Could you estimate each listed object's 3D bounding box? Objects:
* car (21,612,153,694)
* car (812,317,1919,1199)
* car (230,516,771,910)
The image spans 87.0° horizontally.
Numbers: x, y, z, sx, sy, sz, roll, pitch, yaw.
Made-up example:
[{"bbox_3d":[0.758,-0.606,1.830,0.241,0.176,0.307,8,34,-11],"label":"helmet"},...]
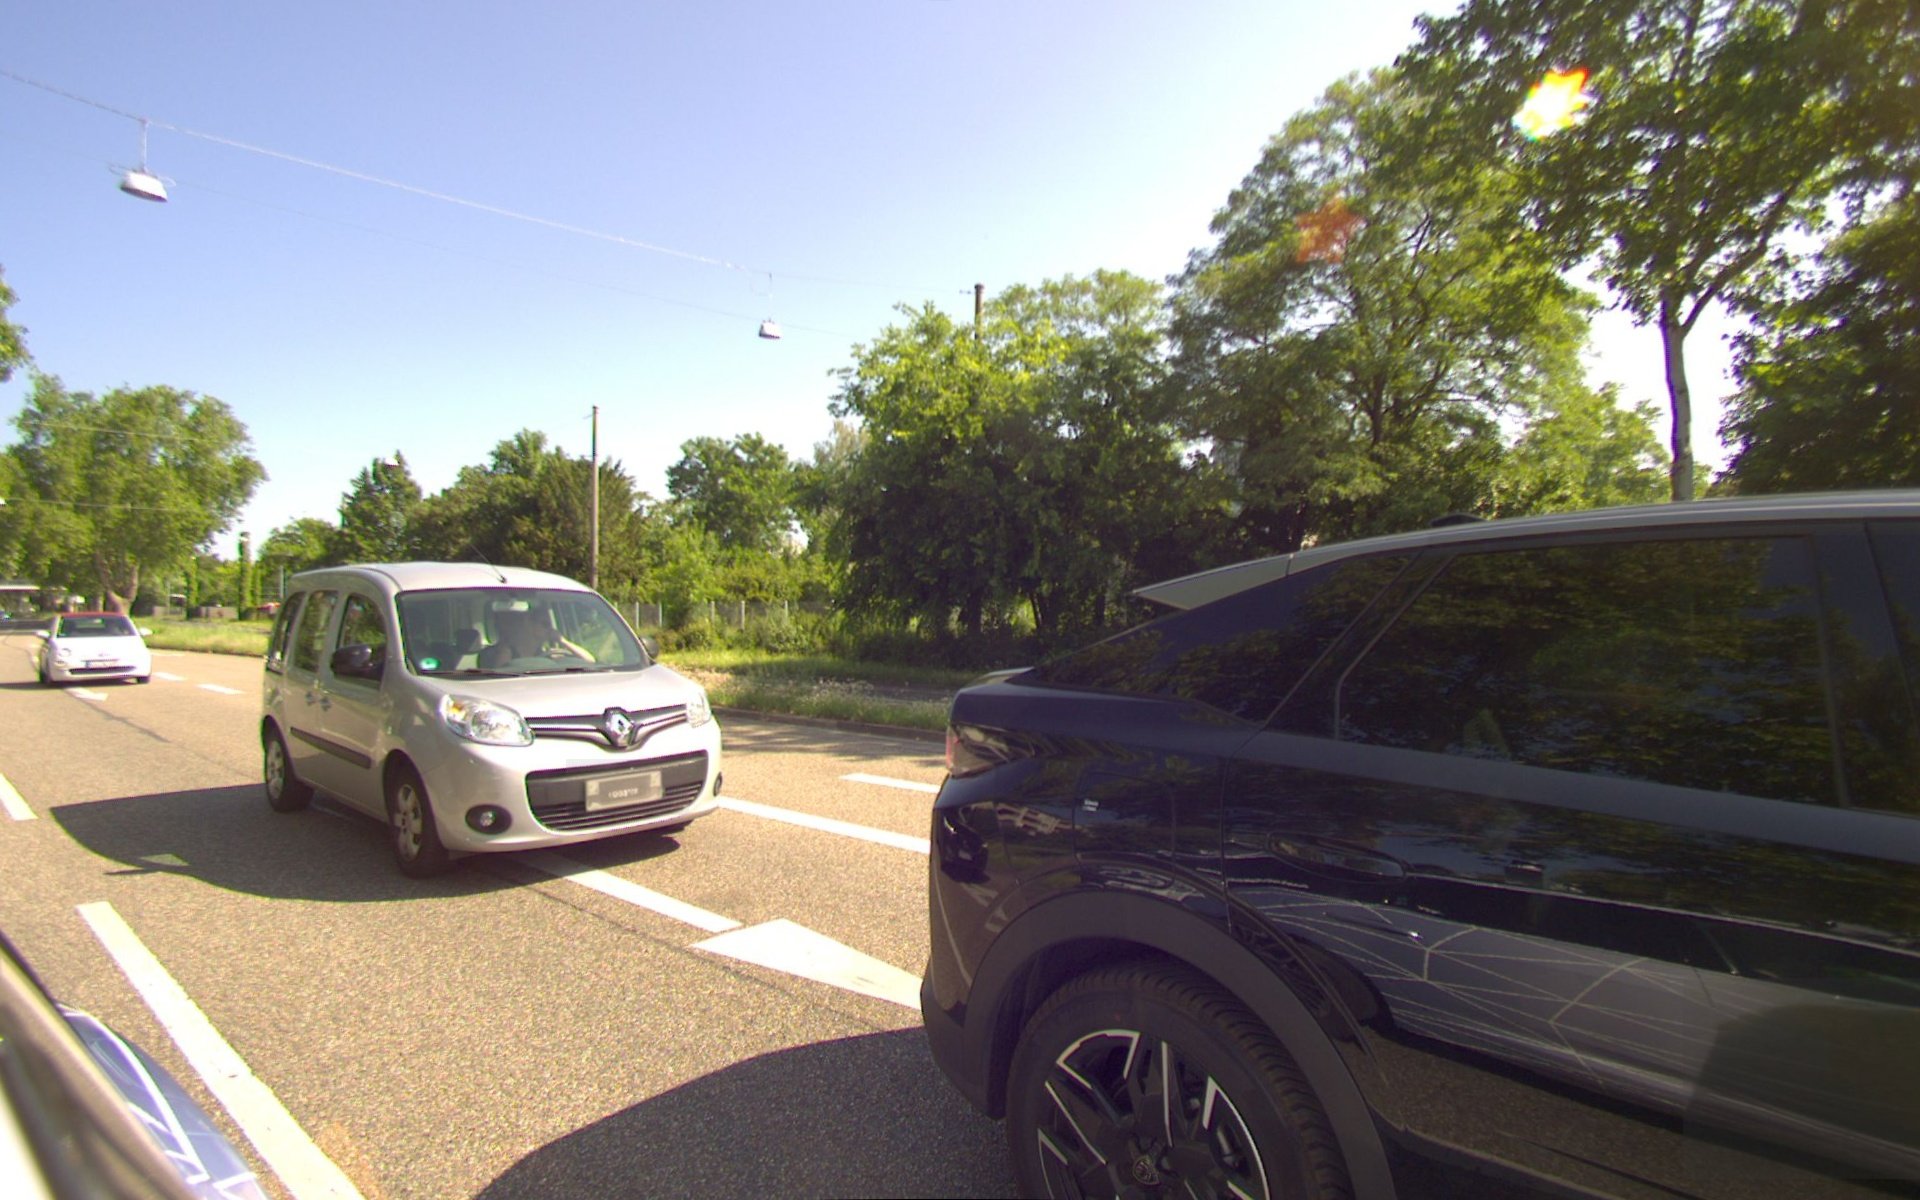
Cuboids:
[{"bbox_3d":[-18.498,1.040,21.379,4.376,1.502,1.666,-1,0,43],"label":"car"},{"bbox_3d":[1.916,0.530,1.657,4.433,1.709,1.853,-1,-1,41],"label":"car"},{"bbox_3d":[-3.367,0.563,6.950,4.375,1.854,1.852,-1,-1,43],"label":"car"}]
